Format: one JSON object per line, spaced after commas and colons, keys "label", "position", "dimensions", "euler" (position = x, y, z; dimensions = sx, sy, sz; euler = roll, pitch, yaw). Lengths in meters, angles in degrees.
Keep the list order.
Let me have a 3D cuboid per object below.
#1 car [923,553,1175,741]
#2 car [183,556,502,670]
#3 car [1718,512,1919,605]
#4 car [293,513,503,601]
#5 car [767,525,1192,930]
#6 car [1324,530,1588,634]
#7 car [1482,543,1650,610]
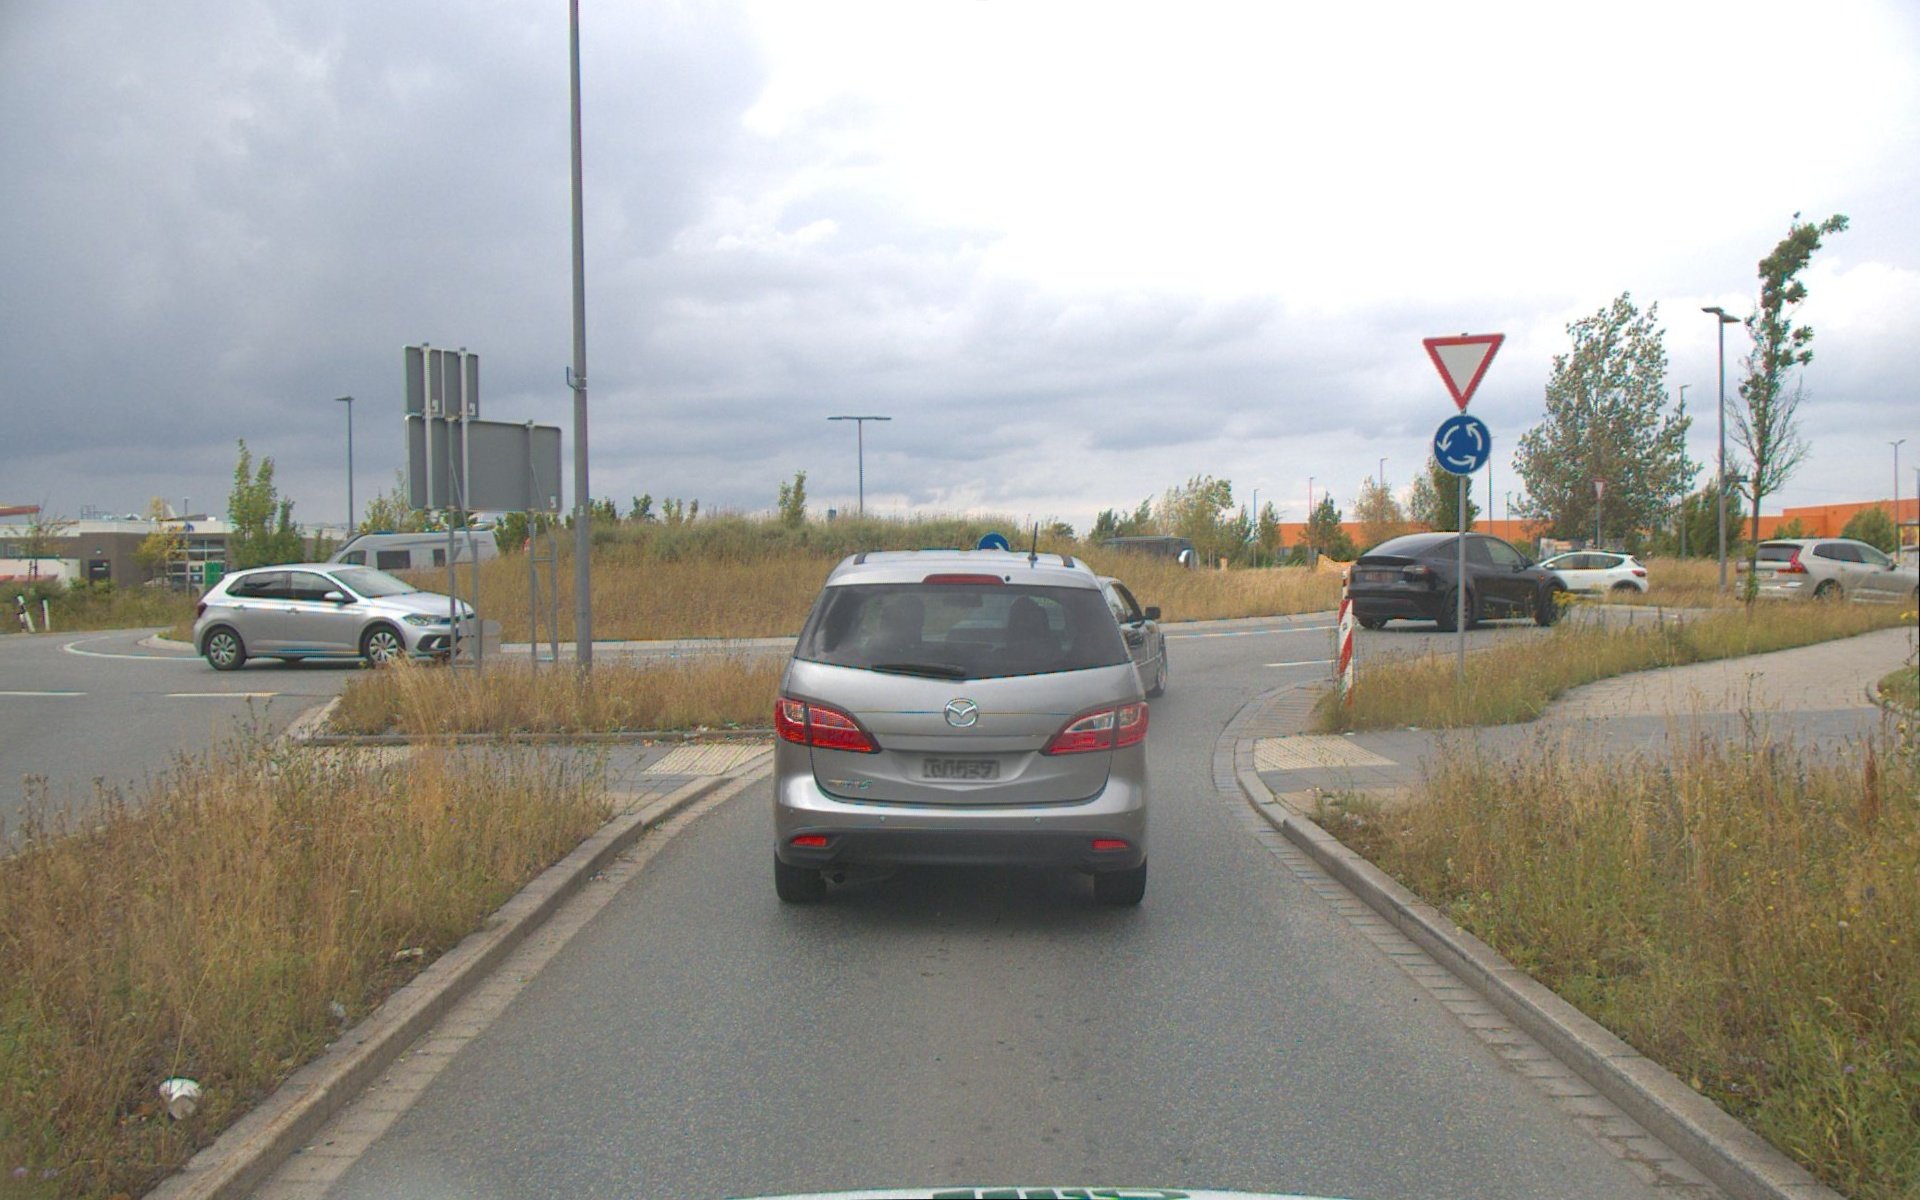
{"label": "car", "position": [0.984, 0.328, 15.884], "dimensions": [1.701, 1.427, 4.002], "euler": [1, 3, 14]}
{"label": "car", "position": [-8.787, 0.208, 23.653], "dimensions": [3.902, 1.490, 1.815], "euler": [-1, -1, 13]}
{"label": "car", "position": [18.716, -0.927, 35.348], "dimensions": [4.694, 1.768, 1.931], "euler": [-3, 3, -23]}
{"label": "car", "position": [-16.842, -1.219, 49.644], "dimensions": [5.635, 2.429, 2.257], "euler": [1, -1, -31]}
{"label": "car", "position": [0.052, 0.468, 8.703], "dimensions": [1.702, 1.626, 3.997], "euler": [1, 1, -1]}
{"label": "car", "position": [8.564, -0.369, 28.394], "dimensions": [4.724, 1.524, 1.919], "euler": [-4, 3, -37]}
{"label": "car", "position": [16.571, -0.652, 45.456], "dimensions": [4.235, 1.676, 1.872], "euler": [-1, 3, 18]}
